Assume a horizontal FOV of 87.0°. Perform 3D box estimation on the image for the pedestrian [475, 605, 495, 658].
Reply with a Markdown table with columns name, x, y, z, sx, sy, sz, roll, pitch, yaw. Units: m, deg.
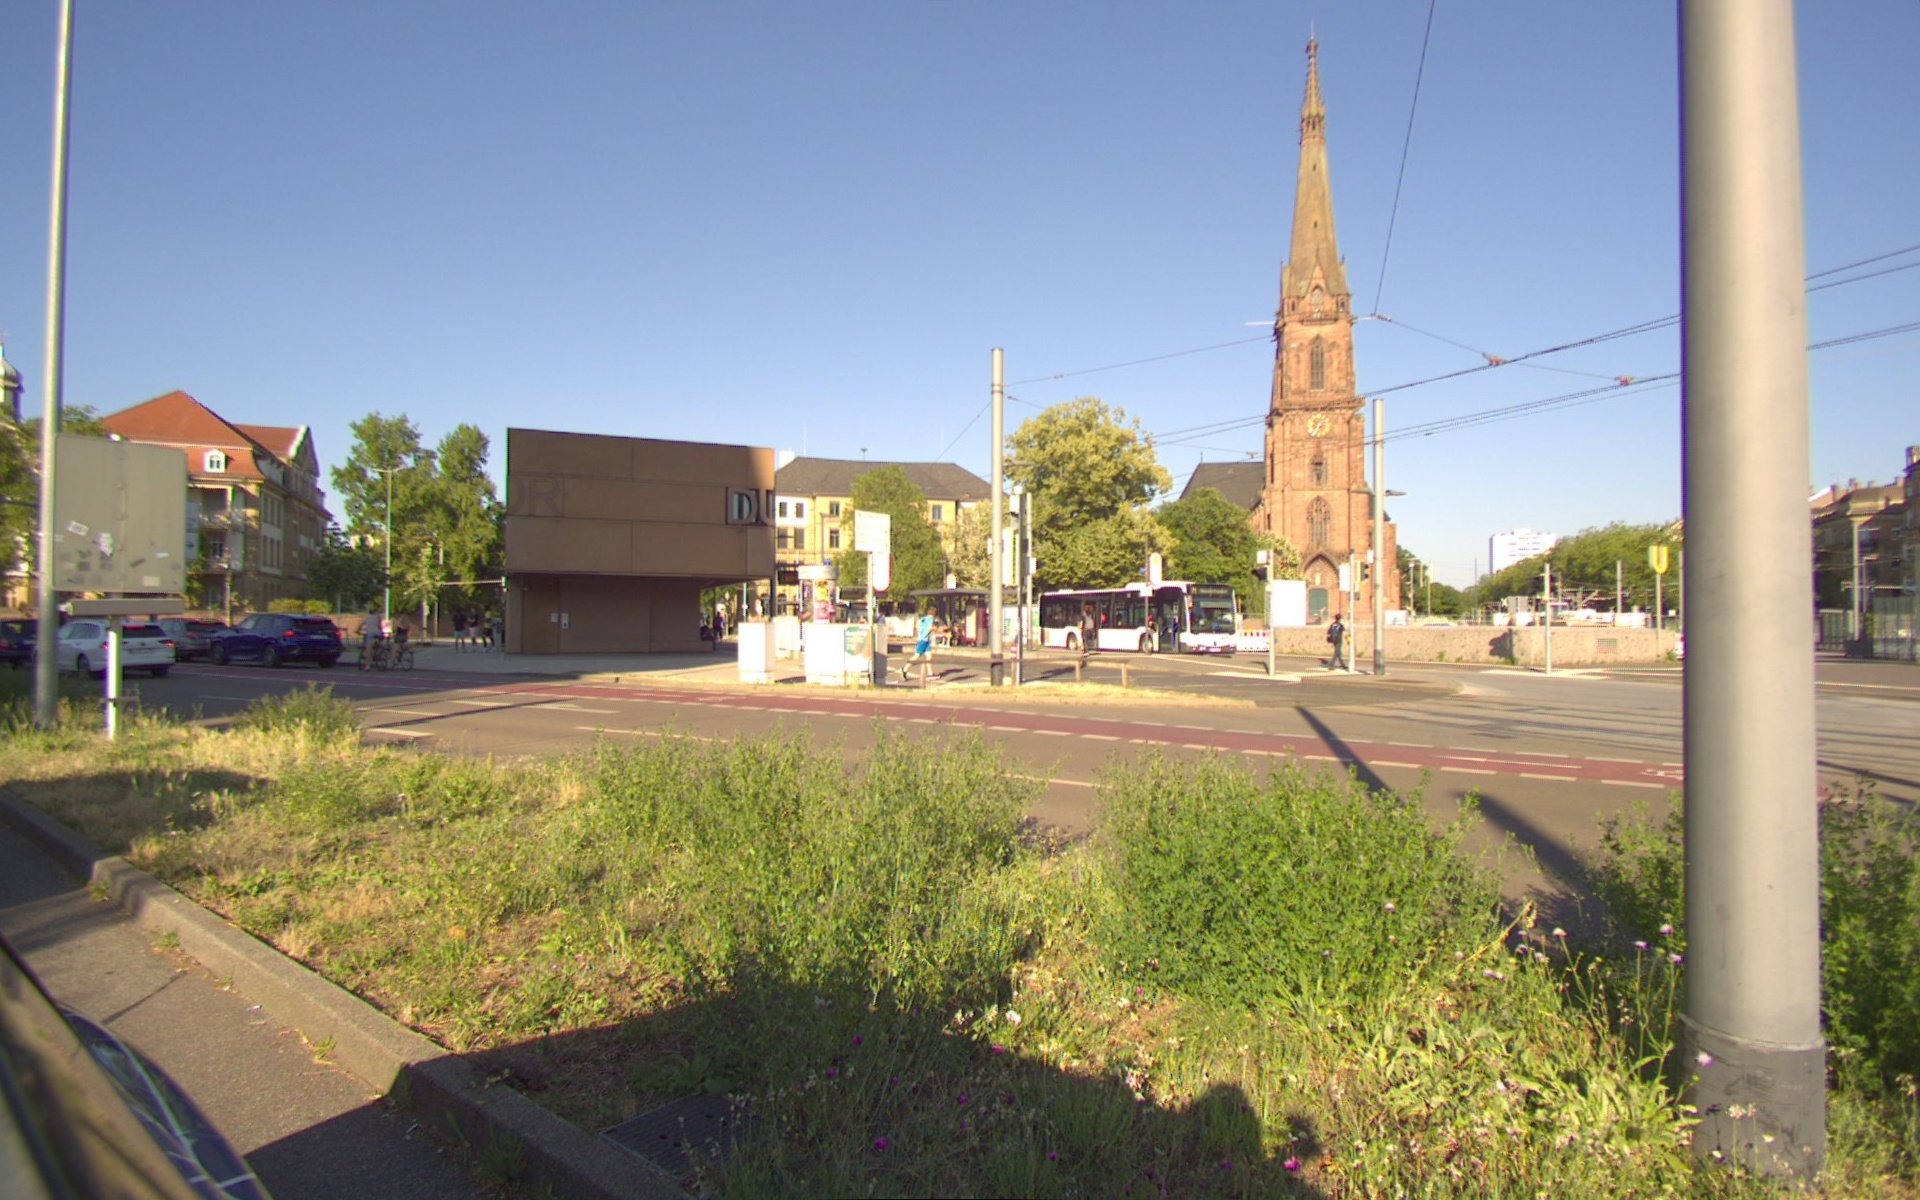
| name | x | y | z | sx | sy | sz | roll | pitch | yaw |
| --- | --- | --- | --- | --- | --- | --- | --- | --- | --- |
| pedestrian | -18.252 | 1.206 | 38.896 | 0.645 | 2.029 | 0.470 | 0 | 0 | -30 |

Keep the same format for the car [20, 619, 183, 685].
| name | x | y | z | sx | sy | sz | roll | pitch | yaw |
| --- | --- | --- | --- | --- | --- | --- | --- | --- | --- |
| car | -21.919 | 1.260 | 25.810 | 4.375 | 1.503 | 1.831 | 0 | 0 | 30 |

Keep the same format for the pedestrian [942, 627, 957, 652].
| name | x | y | z | sx | sy | sz | roll | pitch | yaw |
| --- | --- | --- | --- | --- | --- | --- | --- | --- | --- |
| pedestrian | -0.518 | 1.941 | 50.283 | 0.531 | 1.196 | 0.660 | 0 | 0 | -21 |

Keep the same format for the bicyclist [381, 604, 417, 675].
| name | x | y | z | sx | sy | sz | roll | pitch | yaw |
| --- | --- | --- | --- | --- | --- | --- | --- | --- | --- |
| bicyclist | -16.258 | 1.141 | 29.342 | 0.705 | 2.029 | 0.605 | -1 | -2 | 25 |

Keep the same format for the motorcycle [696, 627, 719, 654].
| name | x | y | z | sx | sy | sz | roll | pitch | yaw |
| --- | --- | --- | --- | --- | --- | --- | --- | --- | --- |
| motorcycle | -10.541 | 1.690 | 42.293 | 0.935 | 1.075 | 0.331 | 0 | 0 | -11 |

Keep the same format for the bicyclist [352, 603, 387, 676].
| name | x | y | z | sx | sy | sz | roll | pitch | yaw |
| --- | --- | --- | --- | --- | --- | --- | --- | --- | --- |
| bicyclist | -16.752 | 1.114 | 28.710 | 0.562 | 2.029 | 0.605 | -1 | -2 | 25 |

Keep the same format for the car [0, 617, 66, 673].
| name | x | y | z | sx | sy | sz | roll | pitch | yaw |
| --- | --- | --- | --- | --- | --- | --- | --- | --- | --- |
| car | -27.418 | 1.249 | 28.803 | 4.172 | 1.470 | 1.739 | 0 | 0 | 30 |

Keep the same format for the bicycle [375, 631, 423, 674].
| name | x | y | z | sx | sy | sz | roll | pitch | yaw |
| --- | --- | --- | --- | --- | --- | --- | --- | --- | --- |
| bicycle | -16.272 | 1.506 | 29.339 | 1.388 | 1.201 | 0.461 | 0 | 0 | 23 |

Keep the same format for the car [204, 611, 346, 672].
| name | x | y | z | sx | sy | sz | roll | pitch | yaw |
| --- | --- | --- | --- | --- | --- | --- | --- | --- | --- |
| car | -20.528 | 1.201 | 30.297 | 4.168 | 1.703 | 1.740 | 0 | -1 | 28 |

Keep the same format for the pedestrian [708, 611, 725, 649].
| name | x | y | z | sx | sy | sz | roll | pitch | yaw |
| --- | --- | --- | --- | --- | --- | --- | --- | --- | --- |
| pedestrian | -13.341 | 1.635 | 55.397 | 0.762 | 2.029 | 0.778 | 0 | 0 | -2 |

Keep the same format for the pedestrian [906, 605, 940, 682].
| name | x | y | z | sx | sy | sz | roll | pitch | yaw |
| --- | --- | --- | --- | --- | --- | --- | --- | --- | --- |
| pedestrian | -0.931 | 1.086 | 25.520 | 0.787 | 1.911 | 0.612 | 0 | -2 | -9 |

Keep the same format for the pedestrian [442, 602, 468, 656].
| name | x | y | z | sx | sy | sz | roll | pitch | yaw |
| --- | --- | --- | --- | --- | --- | --- | --- | --- | --- |
| pedestrian | -19.310 | 1.111 | 38.700 | 0.765 | 2.029 | 0.775 | 0 | 0 | -37 |

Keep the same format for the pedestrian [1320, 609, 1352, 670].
| name | x | y | z | sx | sy | sz | roll | pitch | yaw |
| --- | --- | --- | --- | --- | --- | --- | --- | --- | --- |
| pedestrian | 11.150 | 1.159 | 30.023 | 0.702 | 1.771 | 0.584 | 0 | 0 | -30 |

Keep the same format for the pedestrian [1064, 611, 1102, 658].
| name | x | y | z | sx | sy | sz | roll | pitch | yaw |
| --- | --- | --- | --- | --- | --- | --- | --- | --- | --- |
| pedestrian | 4.583 | 1.288 | 37.843 | 1.025 | 1.696 | 1.007 | 0 | 0 | -25 |

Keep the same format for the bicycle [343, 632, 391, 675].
| name | x | y | z | sx | sy | sz | roll | pitch | yaw |
| --- | --- | --- | --- | --- | --- | --- | --- | --- | --- |
| bicycle | -16.889 | 1.513 | 28.812 | 1.388 | 1.201 | 0.461 | 0 | 0 | 23 |

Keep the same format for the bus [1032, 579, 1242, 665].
| name | x | y | z | sx | sy | sz | roll | pitch | yaw |
| --- | --- | --- | --- | --- | --- | --- | --- | --- | --- |
| bus | 7.125 | 0.793 | 43.711 | 2.655 | 3.174 | 12.216 | 0 | 0 | -23 |

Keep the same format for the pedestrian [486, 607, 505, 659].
| name | x | y | z | sx | sy | sz | roll | pitch | yaw |
| --- | --- | --- | --- | --- | --- | --- | --- | --- | --- |
| pedestrian | -18.349 | 1.279 | 39.954 | 0.645 | 2.029 | 0.470 | 0 | 0 | -30 |

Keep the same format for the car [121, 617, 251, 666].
| name | x | y | z | sx | sy | sz | roll | pitch | yaw |
| --- | --- | --- | --- | --- | --- | --- | --- | --- | --- |
| car | -25.577 | 1.355 | 33.419 | 4.375 | 1.503 | 1.831 | 0 | -3 | 30 |
